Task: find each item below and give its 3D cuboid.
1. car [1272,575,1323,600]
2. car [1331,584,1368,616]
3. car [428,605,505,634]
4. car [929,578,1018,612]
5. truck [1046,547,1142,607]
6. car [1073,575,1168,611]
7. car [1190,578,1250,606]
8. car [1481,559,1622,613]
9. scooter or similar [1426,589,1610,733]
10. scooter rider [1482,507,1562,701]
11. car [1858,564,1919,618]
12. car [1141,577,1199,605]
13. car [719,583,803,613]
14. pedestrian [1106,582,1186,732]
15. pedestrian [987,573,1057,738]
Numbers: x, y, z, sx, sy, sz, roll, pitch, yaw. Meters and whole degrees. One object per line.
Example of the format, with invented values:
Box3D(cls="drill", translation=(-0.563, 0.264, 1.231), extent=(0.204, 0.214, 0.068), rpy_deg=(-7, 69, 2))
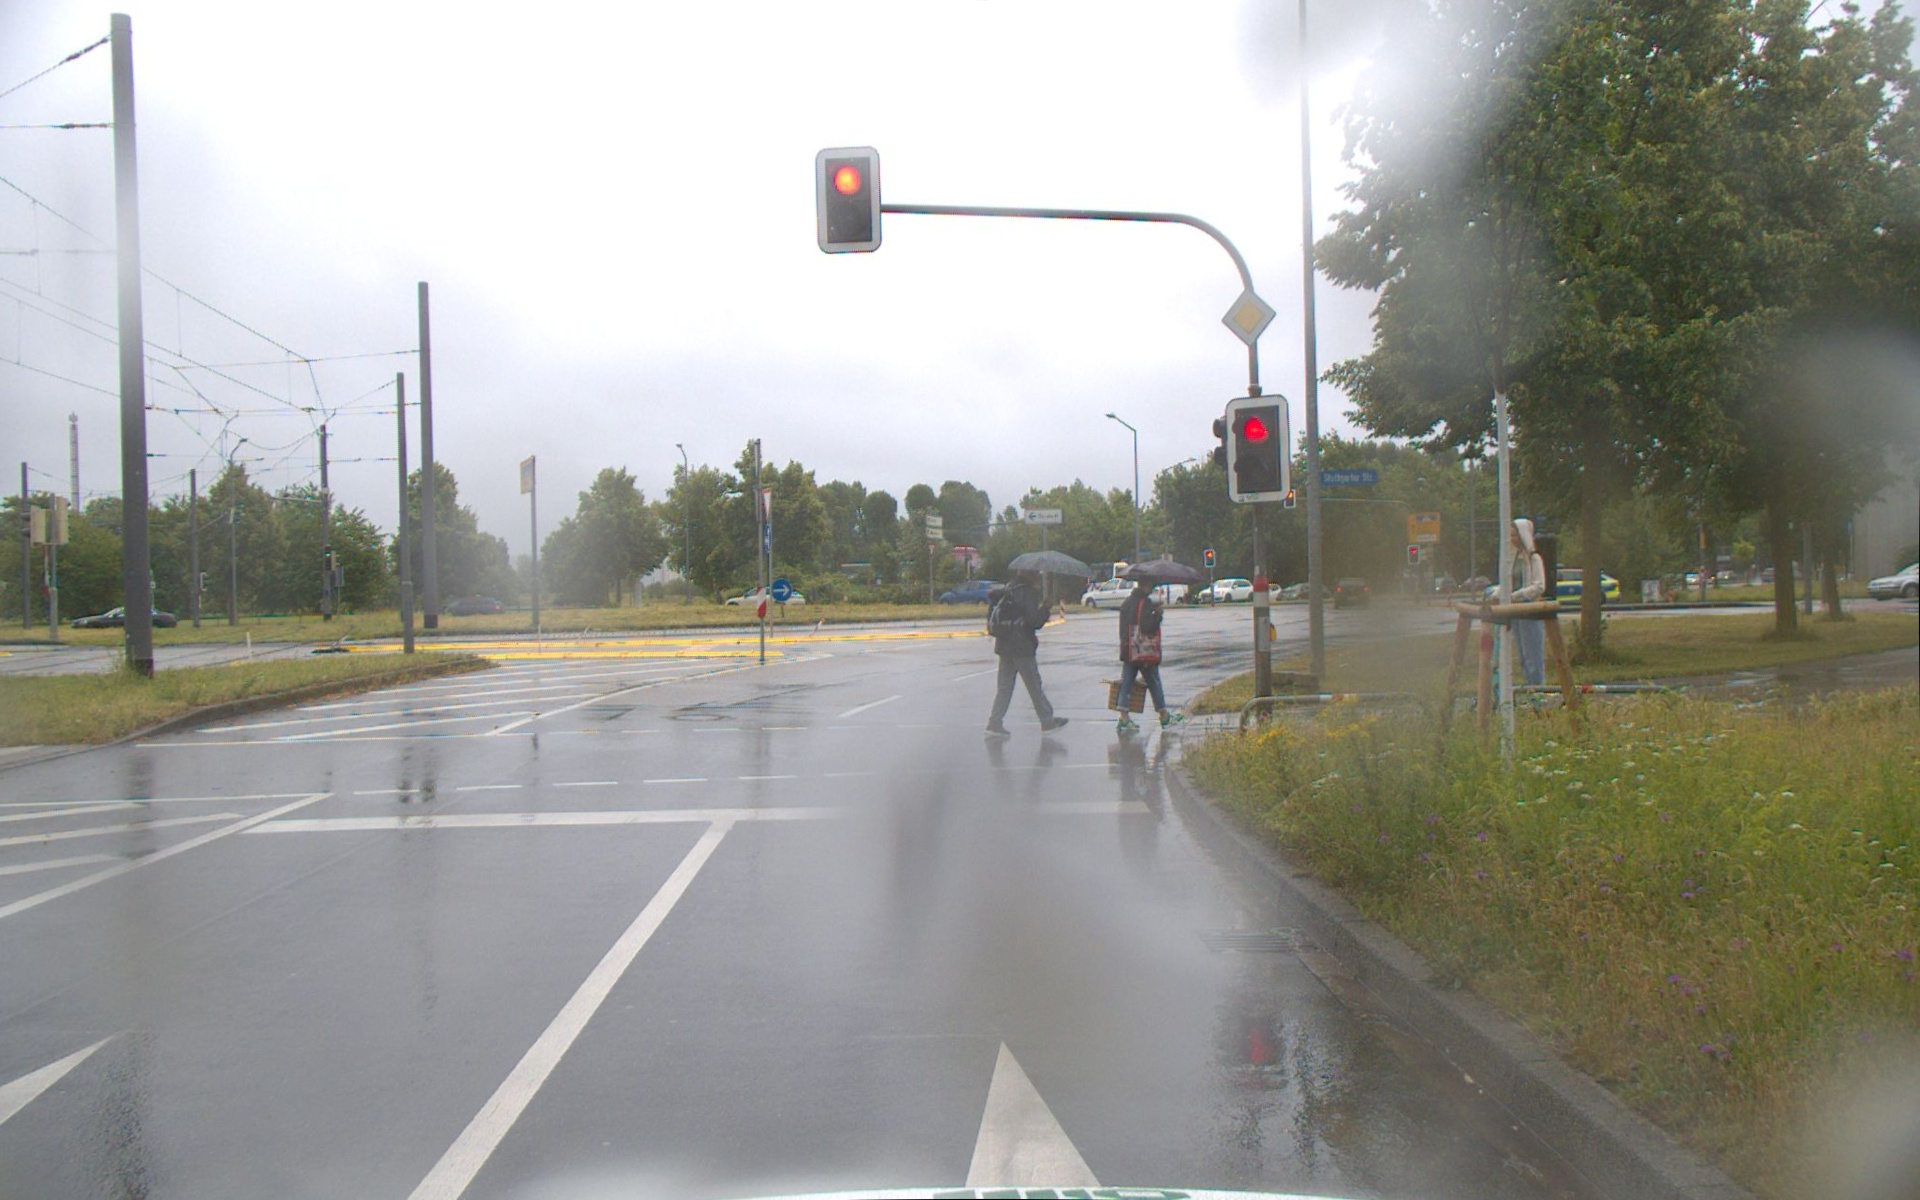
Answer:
Box3D(cls="car", translation=(24.581, -0.911, 120.417), extent=(1.769, 1.691, 4.387), rpy_deg=(-1, 0, 40))
Box3D(cls="car", translation=(18.601, -0.026, 79.039), extent=(1.583, 1.479, 3.991), rpy_deg=(-1, 1, 11))
Box3D(cls="car", translation=(-26.986, 1.071, 90.553), extent=(3.905, 1.479, 1.618), rpy_deg=(-1, 0, -13))
Box3D(cls="car", translation=(0.600, -0.226, 76.517), extent=(3.907, 1.479, 1.617), rpy_deg=(-1, 1, 36))
Box3D(cls="truck", translation=(6.746, -1.101, 82.079), extent=(2.411, 2.733, 8.058), rpy_deg=(1, -1, 22))
Box3D(cls="car", translation=(6.878, -0.287, 71.007), extent=(3.920, 1.479, 1.612), rpy_deg=(0, 1, 44))
Box3D(cls="car", translation=(16.510, -0.518, 104.988), extent=(1.769, 1.691, 4.386), rpy_deg=(1, -1, 40))
Box3D(cls="car", translation=(21.653, -0.503, 60.721), extent=(4.659, 1.883, 2.002), rpy_deg=(-1, 0, 15))
Box3D(cls="scooter or similar", translation=(5.129, 0.554, 15.214), extent=(1.555, 1.281, 0.447), rpy_deg=(1, -1, -7))
Box3D(cls="scooter rider", translation=(5.165, 0.036, 15.210), extent=(0.521, 1.739, 0.433), rpy_deg=(-2, 0, -7))
Box3D(cls="car", translation=(35.614, -0.291, 60.301), extent=(4.663, 1.883, 2.000), rpy_deg=(1, -1, 0))
Box3D(cls="car", translation=(13.457, -0.572, 105.891), extent=(1.769, 1.691, 4.112), rpy_deg=(1, -1, 40))
Box3D(cls="car", translation=(-10.289, -0.115, 85.669), extent=(4.012, 1.479, 1.625), rpy_deg=(-1, 0, 14))
Box3D(cls="pedestrian", translation=(1.897, 0.571, 16.959), extent=(0.667, 1.486, 0.573), rpy_deg=(-2, -1, -5))
Box3D(cls="pedestrian", translation=(0.595, 0.524, 16.052), extent=(0.608, 1.549, 0.741), rpy_deg=(1, 0, -2))
